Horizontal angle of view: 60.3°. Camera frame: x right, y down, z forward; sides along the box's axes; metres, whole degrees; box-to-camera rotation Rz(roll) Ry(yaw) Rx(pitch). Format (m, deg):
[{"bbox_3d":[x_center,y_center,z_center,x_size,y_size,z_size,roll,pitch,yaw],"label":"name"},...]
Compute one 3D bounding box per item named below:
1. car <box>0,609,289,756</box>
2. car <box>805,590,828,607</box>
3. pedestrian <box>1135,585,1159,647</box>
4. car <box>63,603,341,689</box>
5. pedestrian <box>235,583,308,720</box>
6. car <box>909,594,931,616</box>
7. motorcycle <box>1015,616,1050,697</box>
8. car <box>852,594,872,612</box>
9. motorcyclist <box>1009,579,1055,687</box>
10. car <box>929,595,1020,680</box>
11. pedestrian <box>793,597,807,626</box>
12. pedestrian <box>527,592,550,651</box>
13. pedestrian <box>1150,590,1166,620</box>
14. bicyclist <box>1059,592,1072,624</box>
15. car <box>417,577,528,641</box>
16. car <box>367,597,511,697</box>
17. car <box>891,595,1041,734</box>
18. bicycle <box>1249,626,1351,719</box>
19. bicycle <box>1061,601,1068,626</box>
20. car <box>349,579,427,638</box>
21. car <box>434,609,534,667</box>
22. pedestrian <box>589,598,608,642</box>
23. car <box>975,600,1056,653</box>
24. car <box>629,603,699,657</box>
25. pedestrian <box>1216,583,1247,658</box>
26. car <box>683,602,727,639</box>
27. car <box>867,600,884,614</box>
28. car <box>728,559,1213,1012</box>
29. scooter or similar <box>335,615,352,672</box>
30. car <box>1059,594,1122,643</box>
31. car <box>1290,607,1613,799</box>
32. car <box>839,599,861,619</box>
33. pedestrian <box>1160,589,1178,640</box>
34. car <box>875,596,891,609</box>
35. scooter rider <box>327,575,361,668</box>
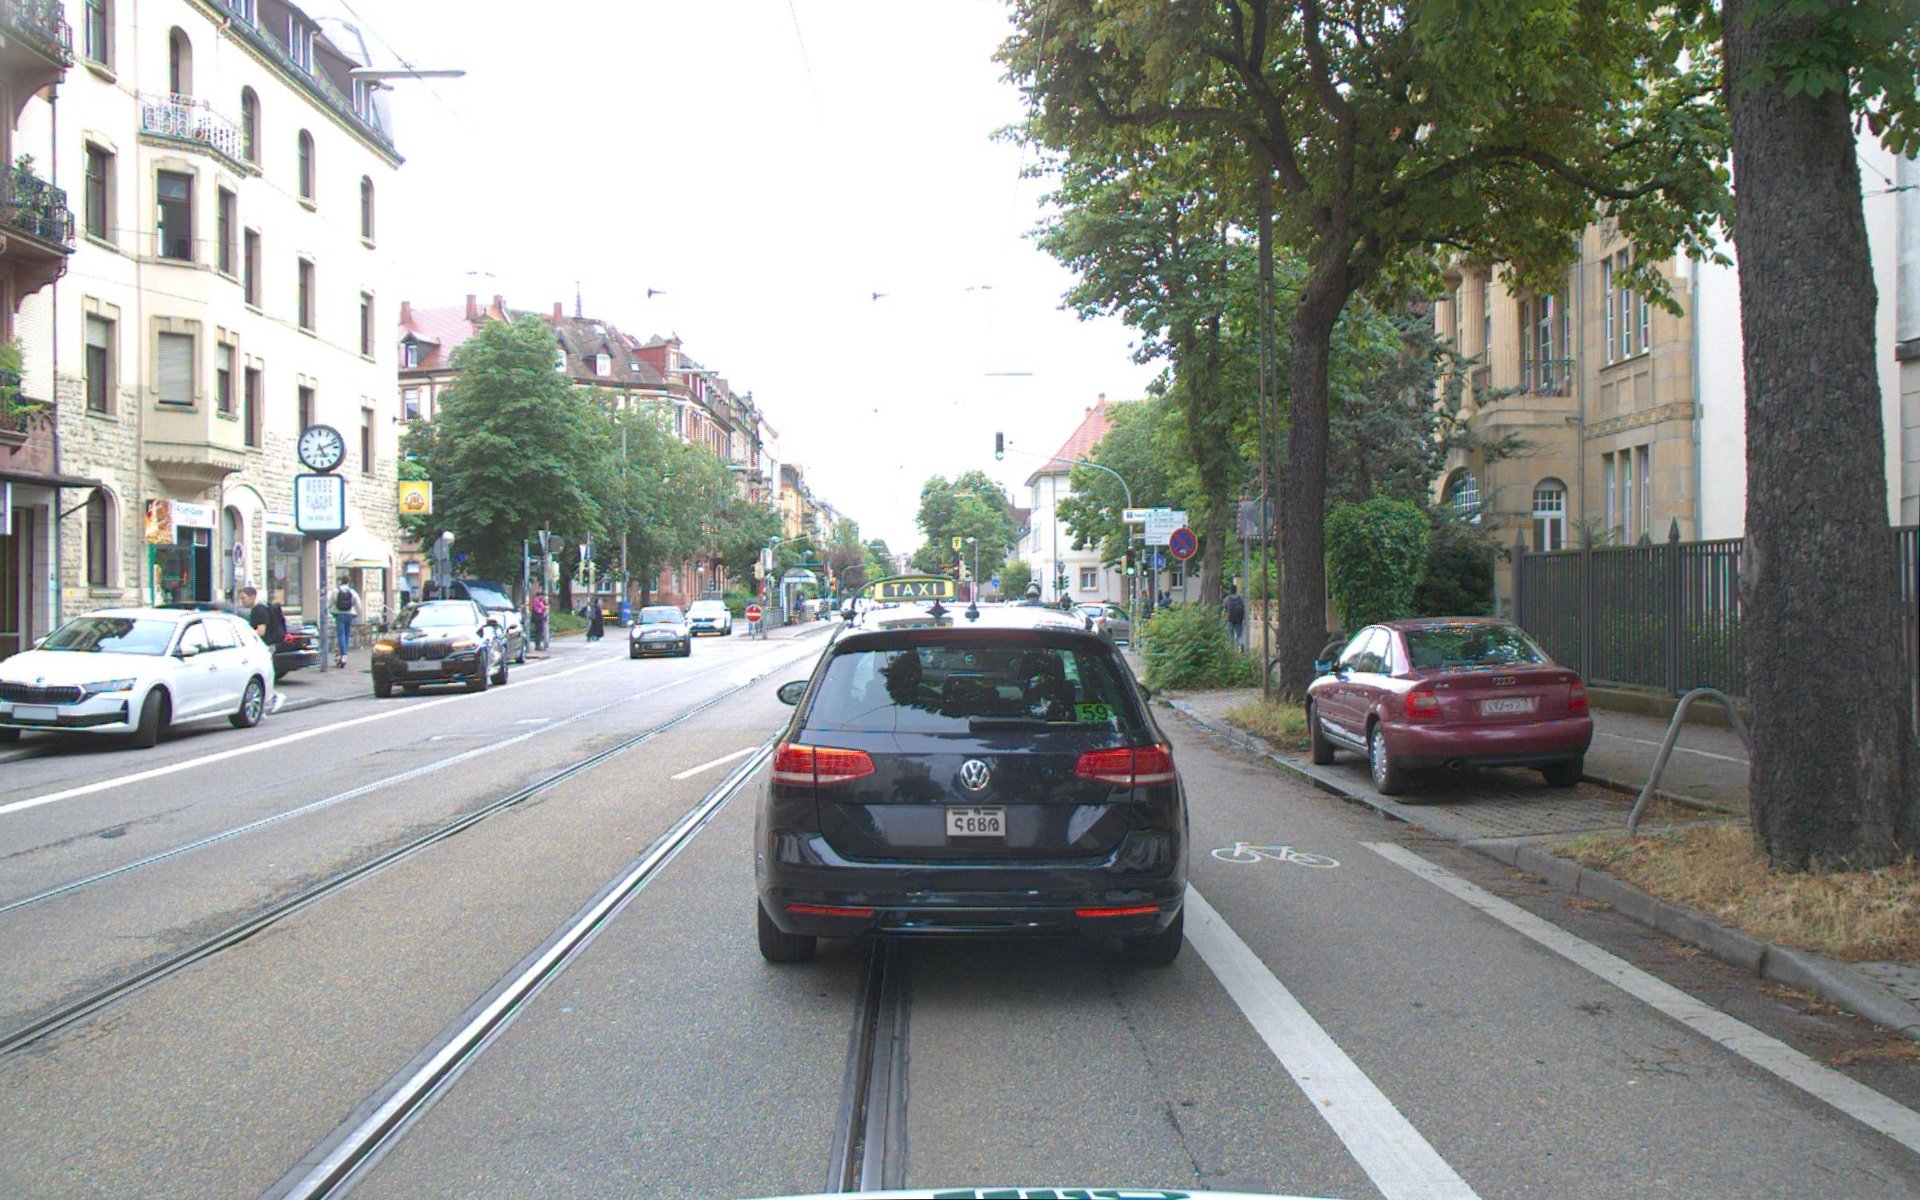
[{"bbox_3d":[-9.749,0.889,19.750,1.712,1.510,4.607,0,0,-2],"label":"car"},{"bbox_3d":[-13.972,-0.148,161.132,1.953,1.624,3.999,-1,0,-1],"label":"car"},{"bbox_3d":[5.743,0.502,50.928,0.573,1.863,0.604,-3,0,0],"label":"pedestrian"},{"bbox_3d":[-14.240,0.856,31.294,4.340,1.394,1.878,3,0,-6],"label":"car"},{"bbox_3d":[-9.613,0.705,23.109,0.654,1.876,0.882,-1,0,-2],"label":"pedestrian"},{"bbox_3d":[-3.772,0.476,154.885,1.991,2.049,3.999,1,-1,-1],"label":"car"},{"bbox_3d":[1.166,0.896,26.854,0.437,1.257,1.906,0,0,-1],"label":"motorcycle"},{"bbox_3d":[-9.161,0.309,154.911,1.686,1.651,3.862,-1,0,-1],"label":"car"},{"bbox_3d":[1.168,0.528,26.992,0.688,1.722,0.804,0,0,-1],"label":"motorcyclist"},{"bbox_3d":[0.241,0.707,33.106,1.688,1.573,3.999,0,0,-1],"label":"car"},{"bbox_3d":[-8.623,0.623,89.153,0.699,1.547,0.590,0,0,0],"label":"pedestrian"},{"bbox_3d":[-13.333,0.674,52.357,0.610,1.875,0.609,0,0,-3],"label":"pedestrian"},{"bbox_3d":[10.403,0.257,87.038,0.604,1.581,0.575,0,0,-40],"label":"pedestrian"},{"bbox_3d":[5.354,0.409,84.142,0.637,1.596,0.696,0,0,6],"label":"bicyclist"},{"bbox_3d":[-19.562,0.360,66.236,2.168,2.460,5.295,0,0,-43],"label":"car"},{"bbox_3d":[-9.722,0.833,31.222,1.849,1.640,4.876,-3,0,-9],"label":"car"},{"bbox_3d":[0.042,0.732,20.759,1.688,1.573,3.999,0,0,-1],"label":"car"},{"bbox_3d":[4.664,0.975,22.590,0.426,1.219,1.891,-1,-2,44],"label":"bicycle"},{"bbox_3d":[5.321,0.680,84.001,0.291,1.244,1.431,0,0,6],"label":"bicycle"},{"bbox_3d":[-25.817,0.365,74.527,2.158,2.571,5.319,0,0,-33],"label":"car"},{"bbox_3d":[-12.551,0.979,43.834,1.616,1.385,4.127,2,0,-3],"label":"car"},{"bbox_3d":[-14.212,0.781,65.104,0.577,1.692,0.839,0,0,-1],"label":"pedestrian"},{"bbox_3d":[1.639,0.727,47.602,1.851,1.433,4.003,-1,0,9],"label":"car"},{"bbox_3d":[-8.493,0.830,47.697,1.577,1.447,3.483,-1,0,-4],"label":"car"},{"bbox_3d":[6.771,0.512,41.237,0.619,1.846,0.725,0,0,-3],"label":"pedestrian"},{"bbox_3d":[-10.979,0.866,71.468,1.666,1.522,3.925,-1,0,-6],"label":"car"},{"bbox_3d":[-8.823,0.703,172.286,1.686,1.490,3.862,0,0,-1],"label":"car"},{"bbox_3d":[0.009,0.650,7.780,1.688,1.573,3.999,0,0,-1],"label":"car"},{"bbox_3d":[-13.865,0.969,37.216,0.228,1.256,0.944,0,0,-28],"label":"scooter or similar"},{"bbox_3d":[4.565,0.641,57.318,1.951,1.605,4.003,1,-1,8],"label":"car"},{"bbox_3d":[4.251,0.808,14.985,1.569,1.423,4.226,-2,0,-1],"label":"car"},{"bbox_3d":[-9.332,0.722,140.315,1.686,1.651,3.862,0,0,-1],"label":"car"},{"bbox_3d":[7.769,0.534,61.526,0.503,1.863,0.418,-3,0,15],"label":"pedestrian"},{"bbox_3d":[-9.793,0.267,210.924,1.758,1.624,4.001,-1,0,2],"label":"car"},{"bbox_3d":[-13.859,0.478,37.208,0.634,2.049,0.751,0,0,-27],"label":"scooter rider"}]
